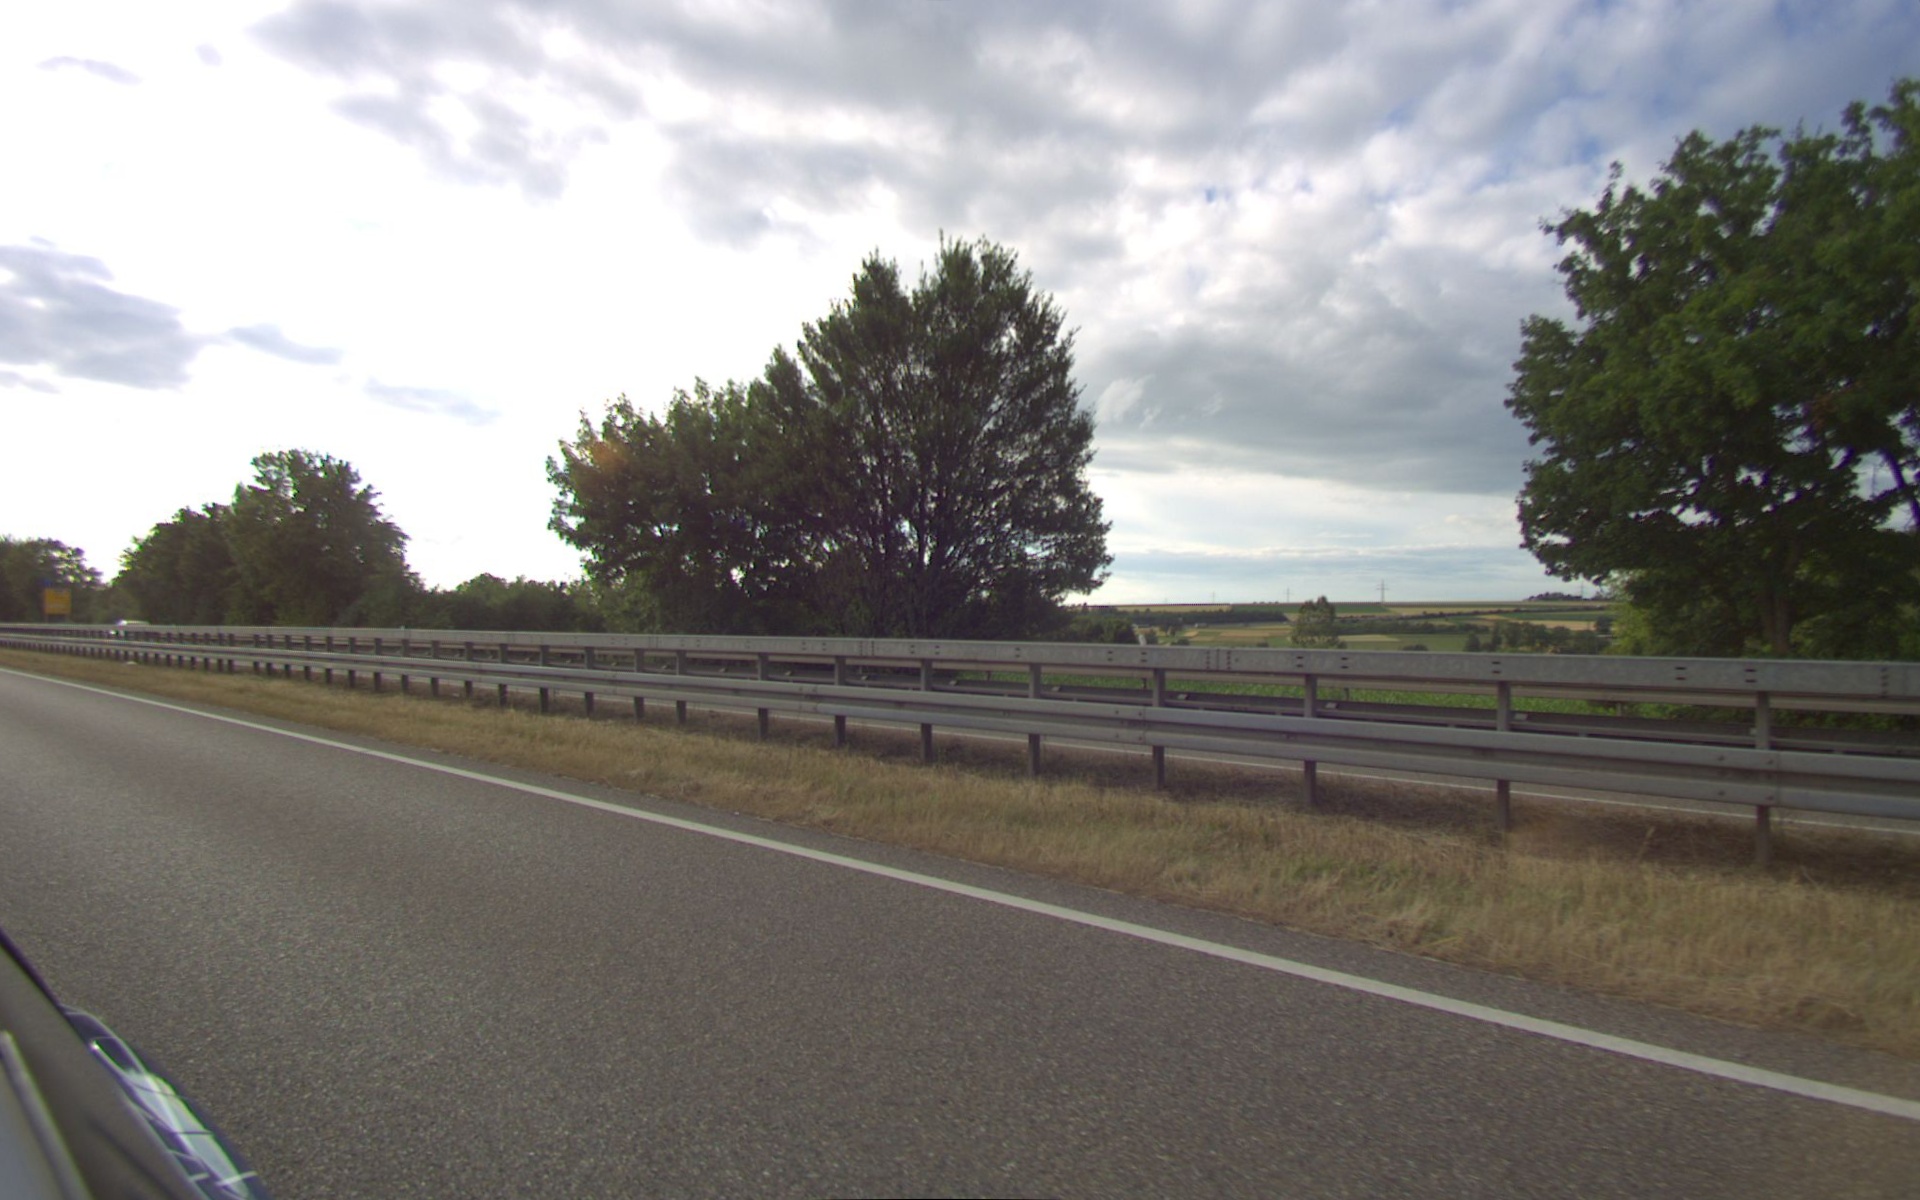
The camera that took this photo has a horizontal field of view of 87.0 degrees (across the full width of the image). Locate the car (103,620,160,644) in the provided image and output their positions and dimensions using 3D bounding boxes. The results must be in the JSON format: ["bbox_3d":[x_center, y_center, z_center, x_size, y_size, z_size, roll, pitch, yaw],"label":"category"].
[{"bbox_3d":[-48.914,1.860,59.709,4.572,1.362,1.763,-1,-2,40],"label":"car"}]
